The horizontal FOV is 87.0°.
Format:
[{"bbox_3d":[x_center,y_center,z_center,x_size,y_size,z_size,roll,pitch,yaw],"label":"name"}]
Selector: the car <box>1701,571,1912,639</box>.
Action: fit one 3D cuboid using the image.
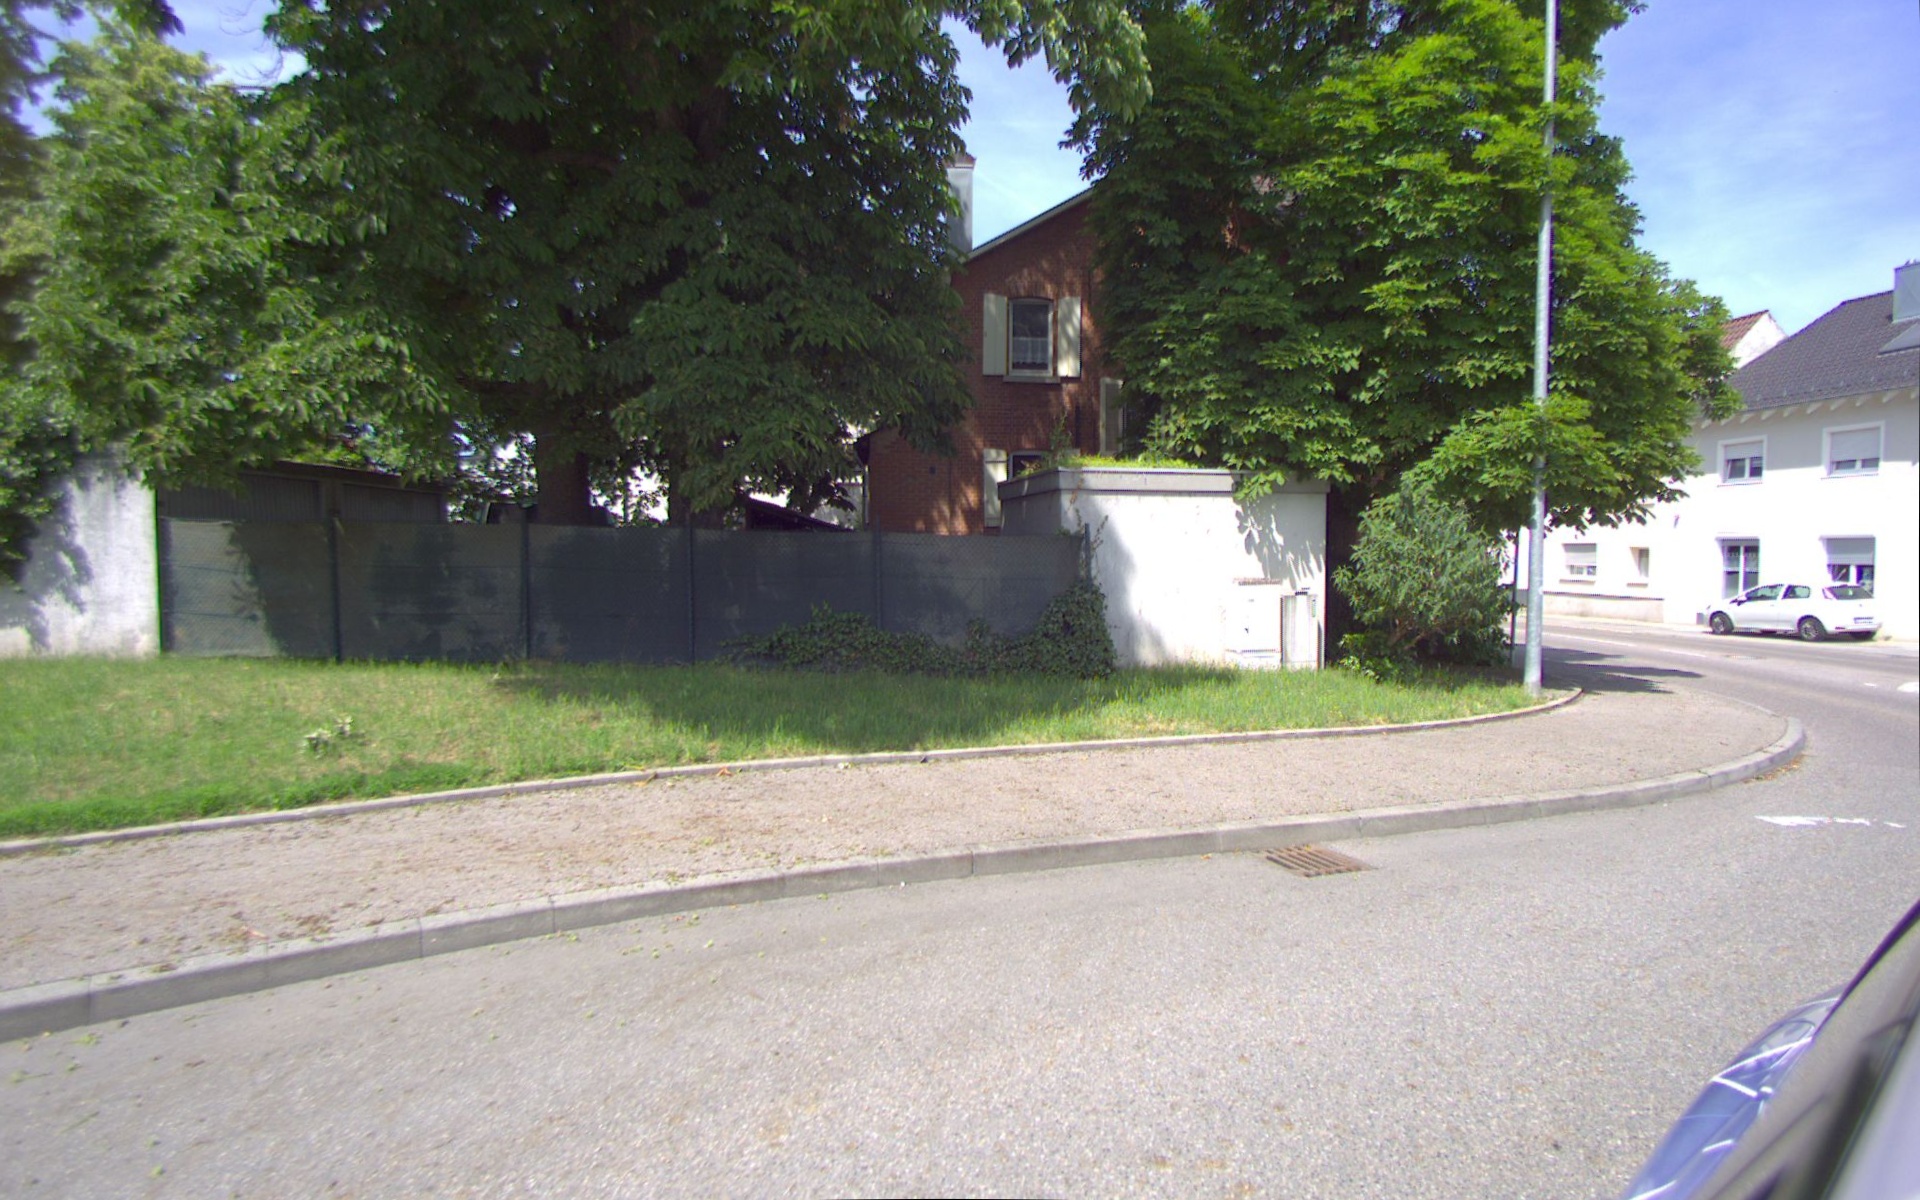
[{"bbox_3d":[21.721,0.060,26.204,1.789,1.521,4.007,-2,2,-8],"label":"car"}]
